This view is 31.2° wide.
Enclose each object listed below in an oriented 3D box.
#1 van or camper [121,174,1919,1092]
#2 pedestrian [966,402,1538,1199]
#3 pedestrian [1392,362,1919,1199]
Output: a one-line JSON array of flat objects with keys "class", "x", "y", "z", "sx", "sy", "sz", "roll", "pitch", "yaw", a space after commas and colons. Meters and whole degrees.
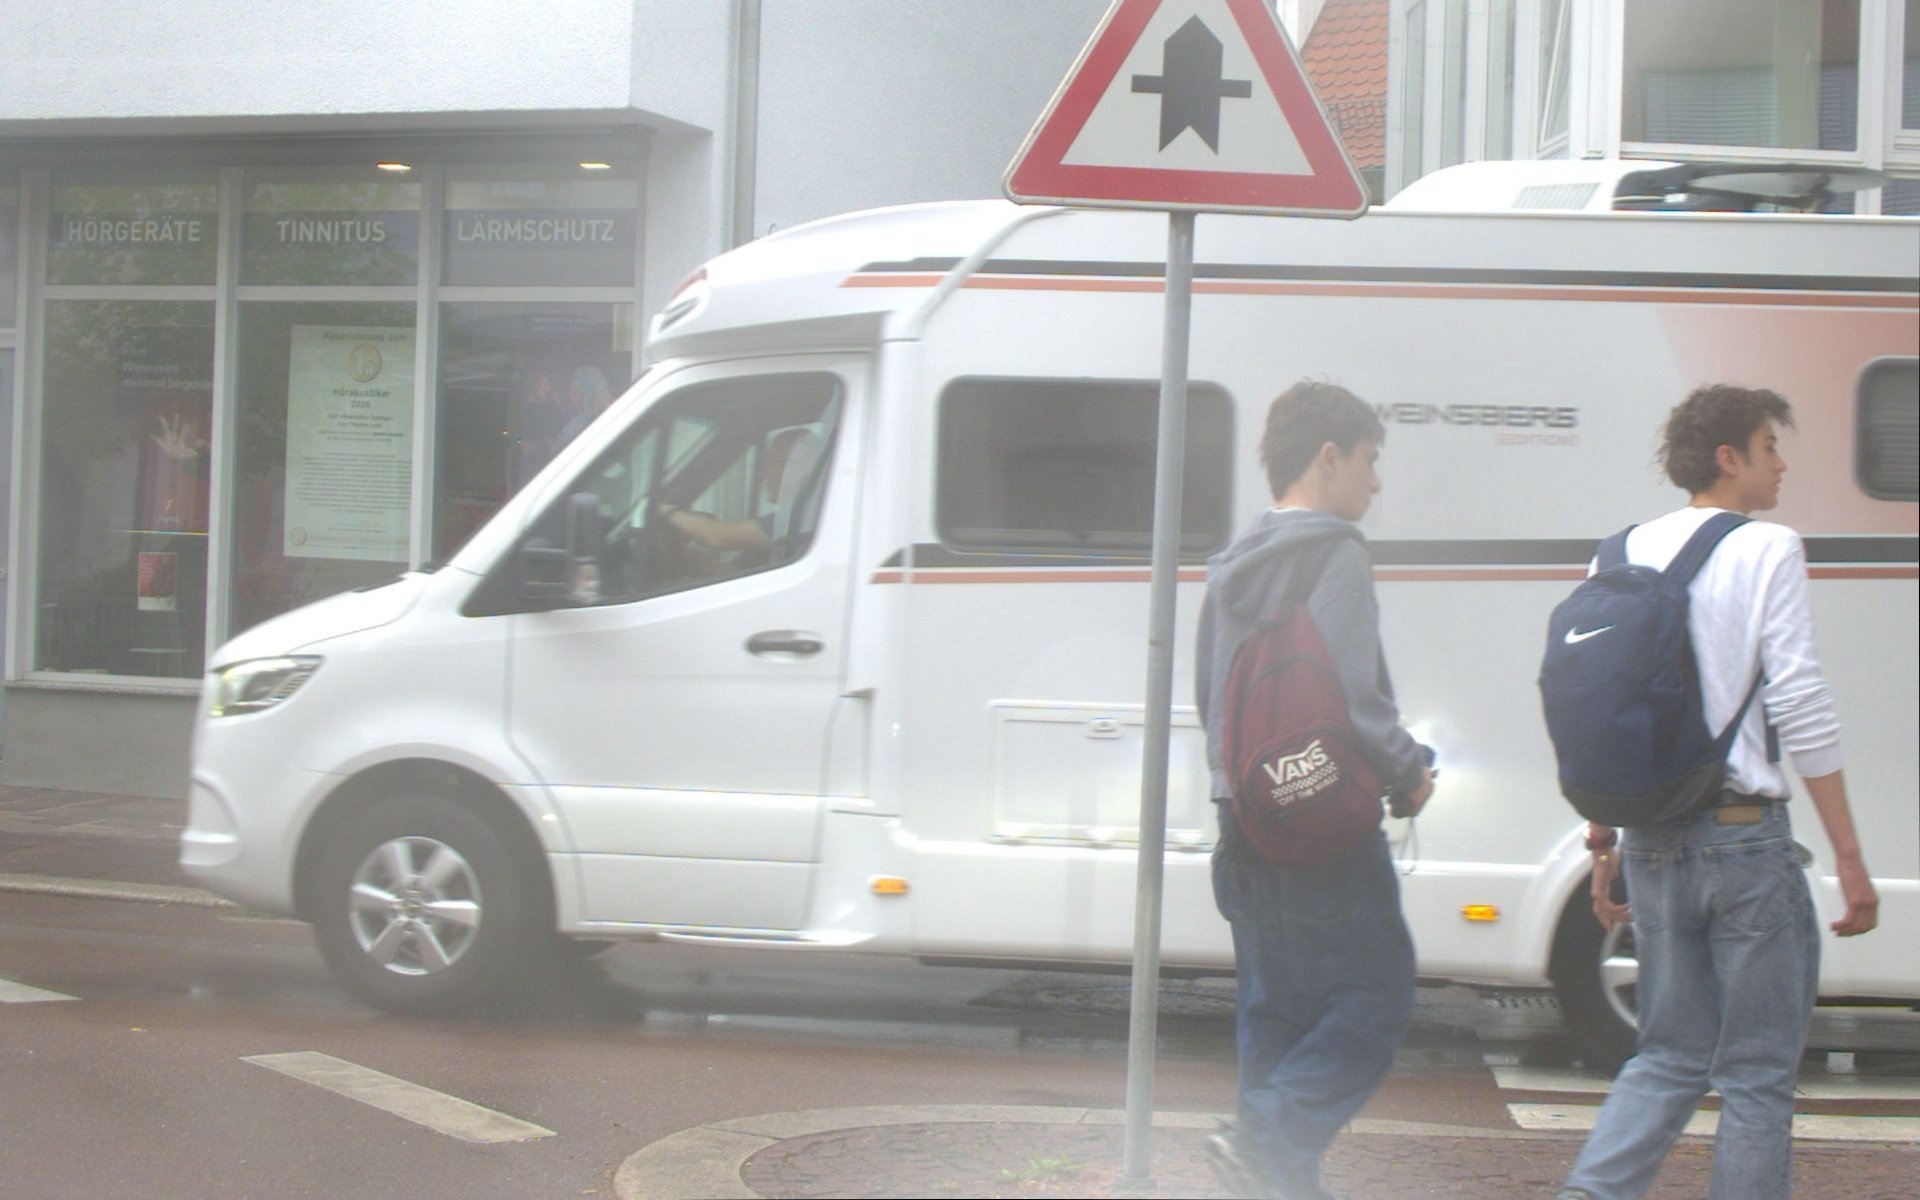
[{"class": "van or camper", "x": 0.906, "y": 0.083, "z": 11.564, "sx": 6.731, "sy": 2.577, "sz": 2.445, "roll": 2, "pitch": 0, "yaw": 7}, {"class": "pedestrian", "x": 0.617, "y": 0.523, "z": 7.076, "sx": 0.693, "sy": 1.794, "sz": 1.056, "roll": 2, "pitch": 0, "yaw": 35}, {"class": "pedestrian", "x": 1.359, "y": 0.502, "z": 6.337, "sx": 0.665, "sy": 1.800, "sz": 1.059, "roll": 2, "pitch": 0, "yaw": 35}]
